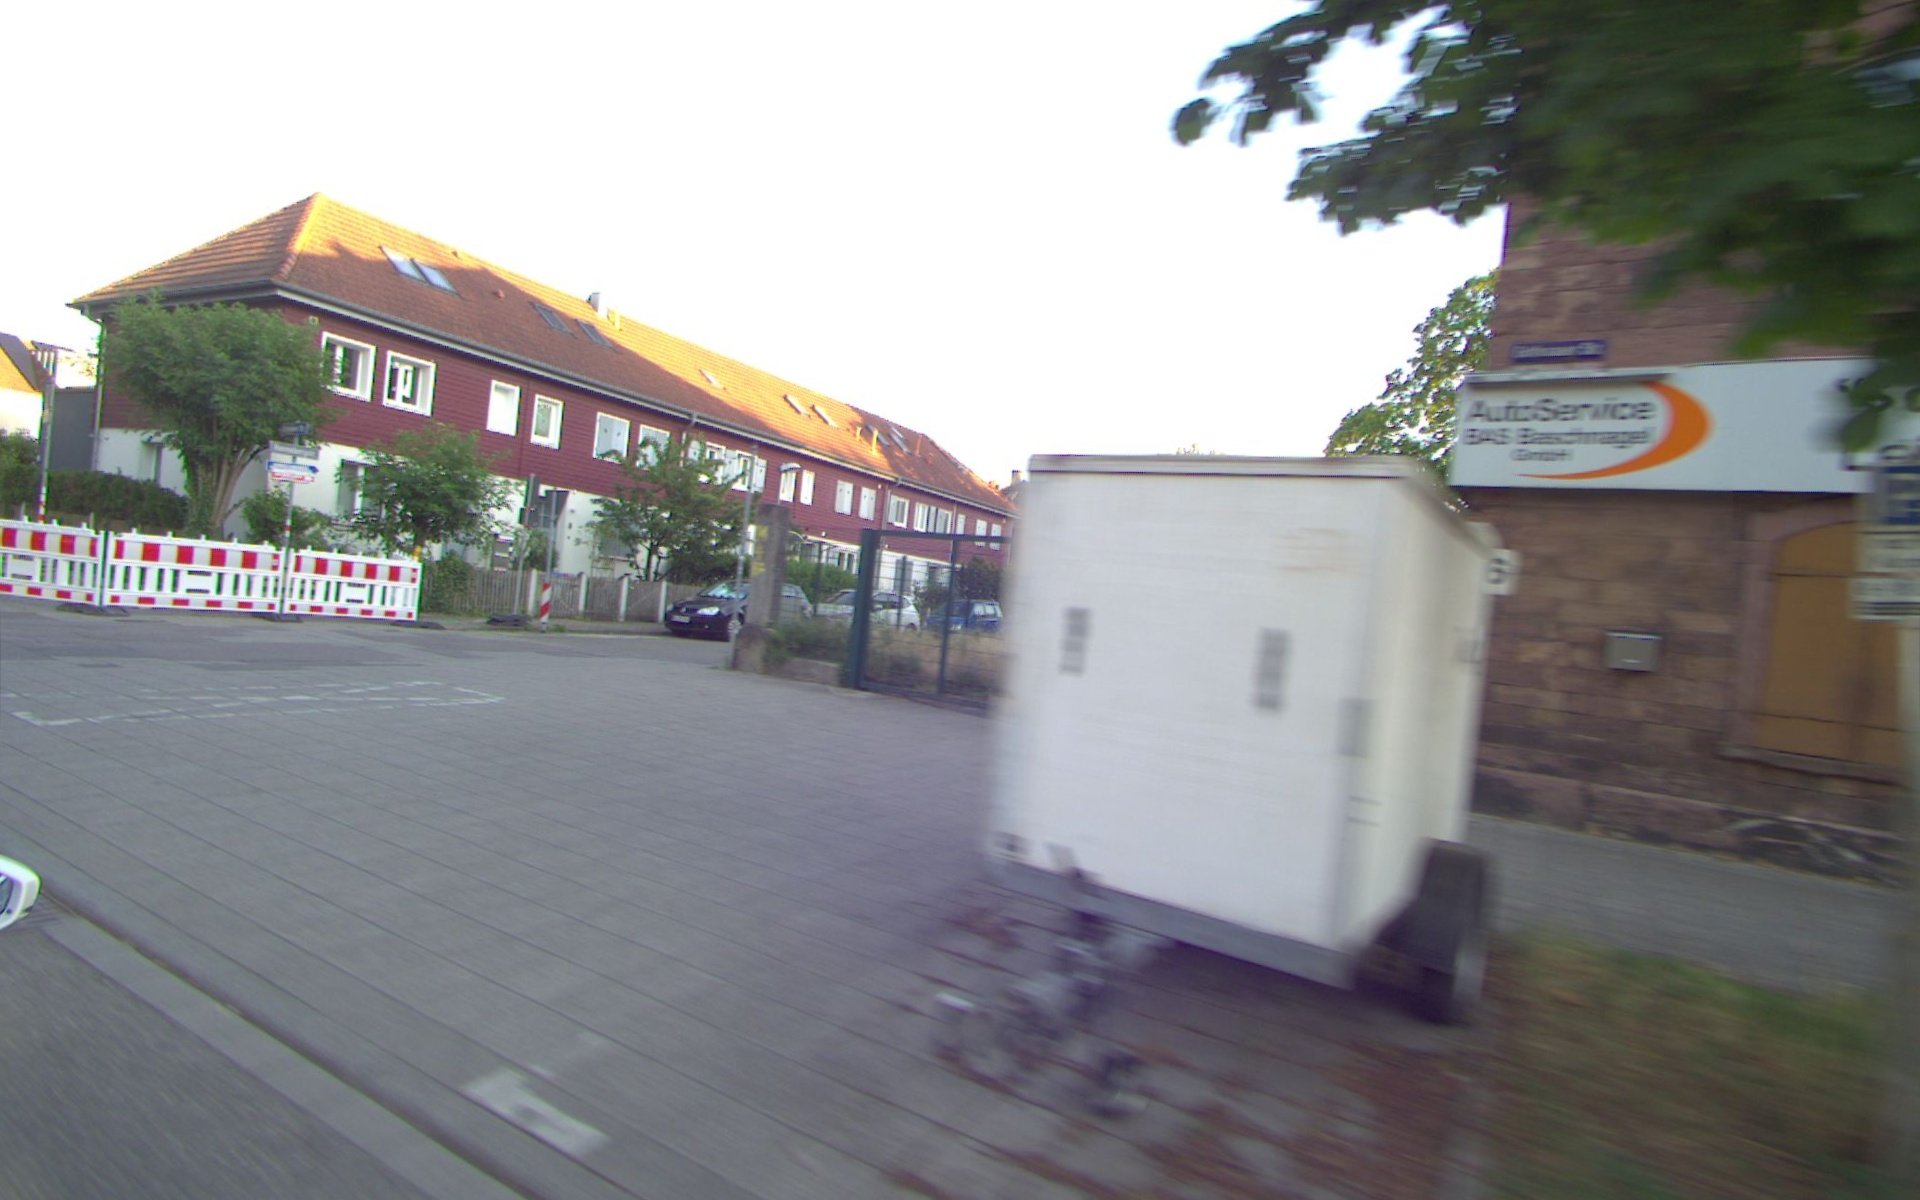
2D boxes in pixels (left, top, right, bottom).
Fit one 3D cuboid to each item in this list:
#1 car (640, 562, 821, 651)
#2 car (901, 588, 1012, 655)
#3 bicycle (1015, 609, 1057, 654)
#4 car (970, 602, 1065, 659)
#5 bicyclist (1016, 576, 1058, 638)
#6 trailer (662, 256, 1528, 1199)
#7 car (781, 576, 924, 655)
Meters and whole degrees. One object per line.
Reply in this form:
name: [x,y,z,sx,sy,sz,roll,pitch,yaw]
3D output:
car: [-5.378,0.213,24.106,1.966,1.683,3.995,6,-1,28]
car: [-0.052,0.778,34.221,1.966,1.855,3.995,6,-1,28]
bicycle: [2.263,0.951,29.883,0.444,1.238,1.881,7,-1,27]
car: [2.255,1.199,38.438,1.966,1.783,3.995,6,-1,28]
bicyclist: [2.296,0.212,29.784,0.731,1.719,0.980,7,0,27]
trailer: [1.058,0.449,4.358,1.968,2.214,3.990,6,-1,34]
car: [-2.946,0.495,28.390,1.966,1.789,3.995,6,-1,28]
